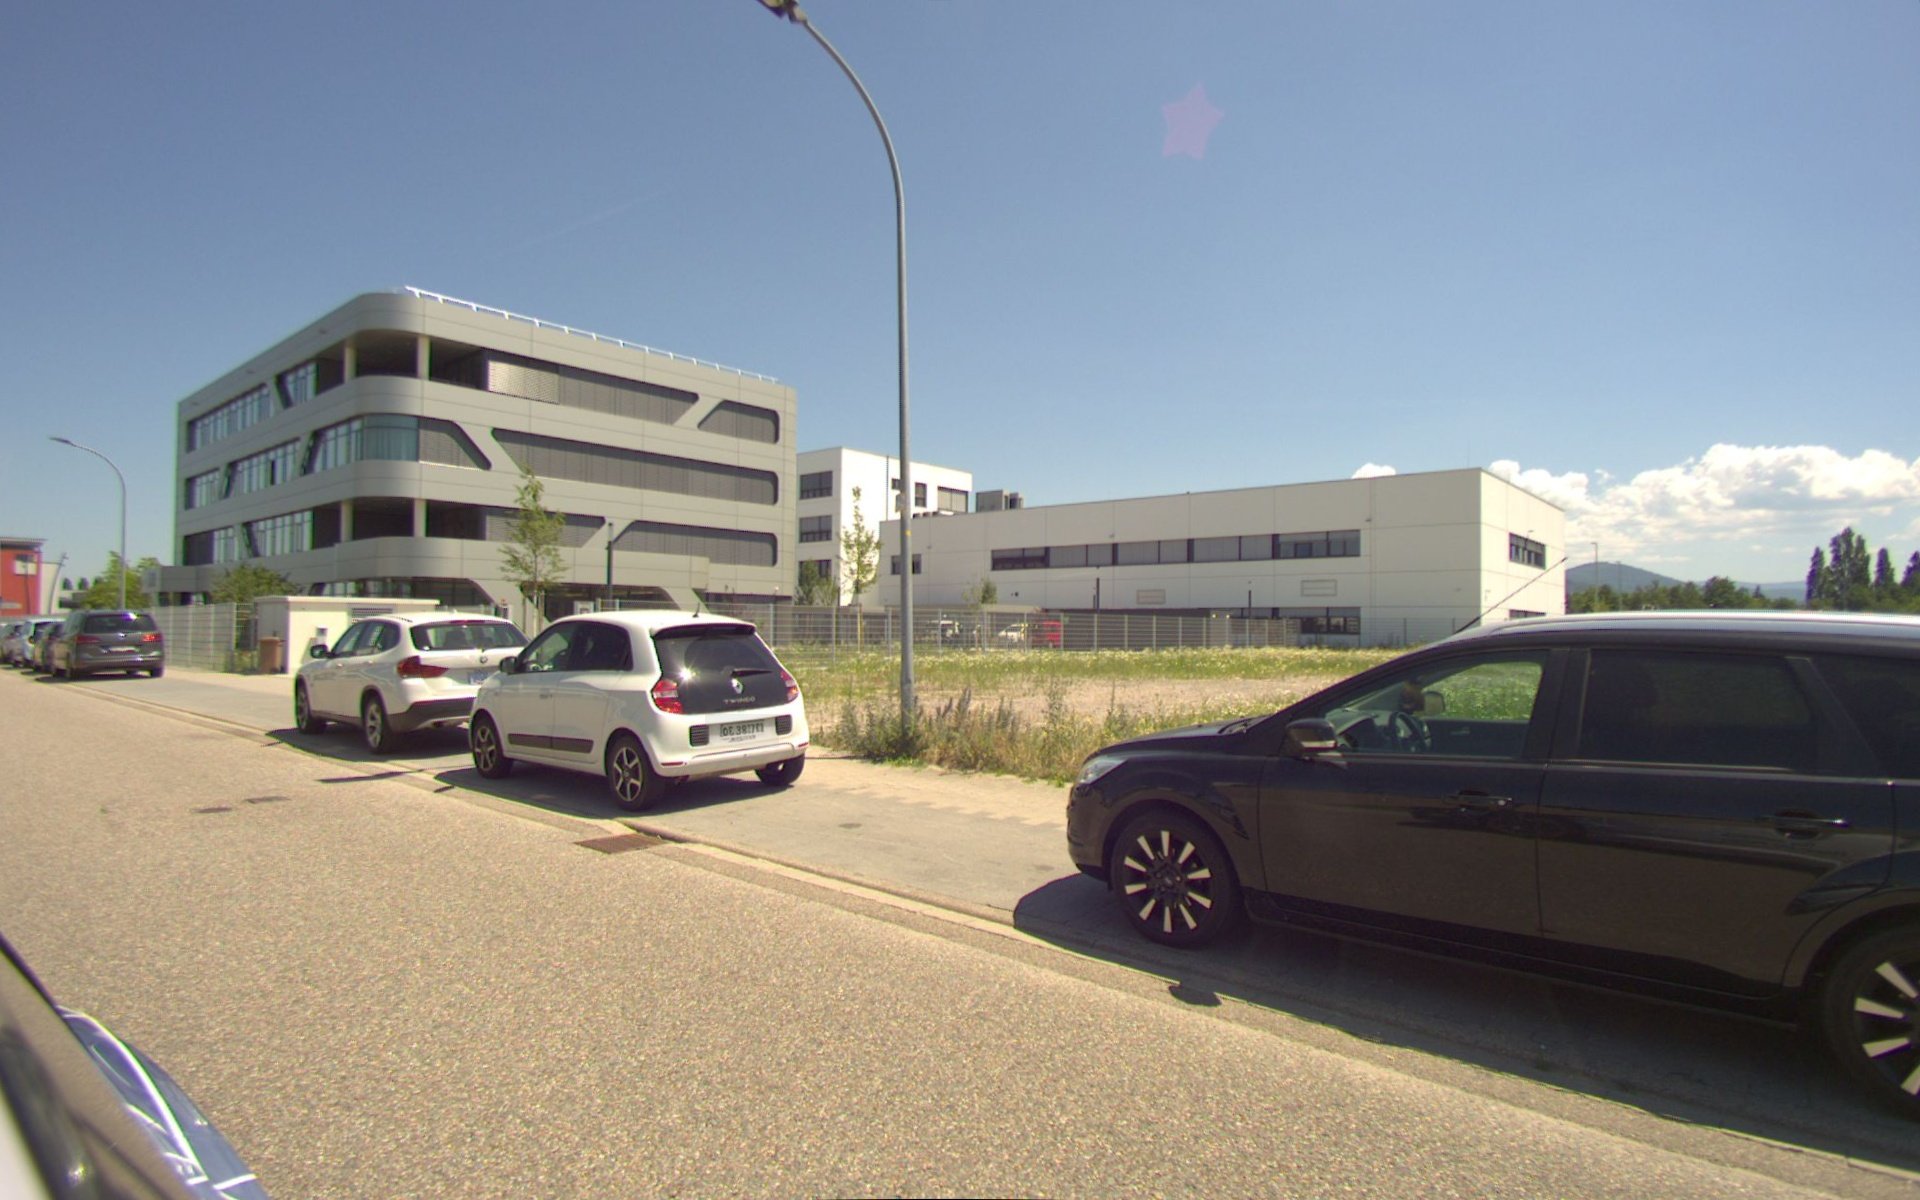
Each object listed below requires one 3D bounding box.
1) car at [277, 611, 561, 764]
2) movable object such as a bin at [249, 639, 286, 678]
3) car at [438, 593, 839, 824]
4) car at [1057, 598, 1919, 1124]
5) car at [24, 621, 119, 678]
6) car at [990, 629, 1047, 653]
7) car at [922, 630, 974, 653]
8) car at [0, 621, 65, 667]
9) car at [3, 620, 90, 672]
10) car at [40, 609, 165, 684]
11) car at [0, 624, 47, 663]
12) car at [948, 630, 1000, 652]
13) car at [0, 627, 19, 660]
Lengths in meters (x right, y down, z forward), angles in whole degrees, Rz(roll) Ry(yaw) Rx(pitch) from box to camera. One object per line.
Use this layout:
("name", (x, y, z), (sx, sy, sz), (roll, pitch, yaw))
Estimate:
("car", (-6.775, 0.935, 12.463), (4.364, 1.554, 1.767), (-1, -2, 43))
("movable object such as a bin", (-17.477, 1.465, 25.539), (0.594, 0.952, 0.517), (0, -1, -9))
("car", (-3.033, 0.820, 9.229), (3.765, 1.669, 1.769), (-1, -2, 40))
("car", (2.694, 0.773, 4.184), (4.377, 1.529, 1.745), (-1, -1, 41))
("car", (-25.675, 1.390, 29.216), (3.970, 1.512, 1.617), (-1, -1, 42))
("car", (4.049, 2.784, 69.398), (1.921, 1.597, 3.945), (-2, -3, 41))
("car", (-0.877, 3.042, 74.460), (1.917, 1.597, 3.953), (-1, -3, 34))
("car", (-33.744, 1.558, 36.402), (4.569, 1.548, 1.686), (-1, -1, 40))
("car", (-29.443, 1.447, 32.595), (3.655, 1.548, 1.618), (-1, -1, 40))
("car", (-21.898, 1.133, 25.786), (4.620, 1.733, 1.784), (-1, -1, 41))
("car", (-37.932, 1.708, 40.353), (4.436, 1.455, 1.686), (-1, -1, 40))
("car", (1.028, 2.975, 73.304), (1.917, 1.597, 3.953), (-1, -3, 34))
("car", (-42.189, 1.879, 43.818), (4.637, 1.396, 1.666), (-2, -3, 42))
